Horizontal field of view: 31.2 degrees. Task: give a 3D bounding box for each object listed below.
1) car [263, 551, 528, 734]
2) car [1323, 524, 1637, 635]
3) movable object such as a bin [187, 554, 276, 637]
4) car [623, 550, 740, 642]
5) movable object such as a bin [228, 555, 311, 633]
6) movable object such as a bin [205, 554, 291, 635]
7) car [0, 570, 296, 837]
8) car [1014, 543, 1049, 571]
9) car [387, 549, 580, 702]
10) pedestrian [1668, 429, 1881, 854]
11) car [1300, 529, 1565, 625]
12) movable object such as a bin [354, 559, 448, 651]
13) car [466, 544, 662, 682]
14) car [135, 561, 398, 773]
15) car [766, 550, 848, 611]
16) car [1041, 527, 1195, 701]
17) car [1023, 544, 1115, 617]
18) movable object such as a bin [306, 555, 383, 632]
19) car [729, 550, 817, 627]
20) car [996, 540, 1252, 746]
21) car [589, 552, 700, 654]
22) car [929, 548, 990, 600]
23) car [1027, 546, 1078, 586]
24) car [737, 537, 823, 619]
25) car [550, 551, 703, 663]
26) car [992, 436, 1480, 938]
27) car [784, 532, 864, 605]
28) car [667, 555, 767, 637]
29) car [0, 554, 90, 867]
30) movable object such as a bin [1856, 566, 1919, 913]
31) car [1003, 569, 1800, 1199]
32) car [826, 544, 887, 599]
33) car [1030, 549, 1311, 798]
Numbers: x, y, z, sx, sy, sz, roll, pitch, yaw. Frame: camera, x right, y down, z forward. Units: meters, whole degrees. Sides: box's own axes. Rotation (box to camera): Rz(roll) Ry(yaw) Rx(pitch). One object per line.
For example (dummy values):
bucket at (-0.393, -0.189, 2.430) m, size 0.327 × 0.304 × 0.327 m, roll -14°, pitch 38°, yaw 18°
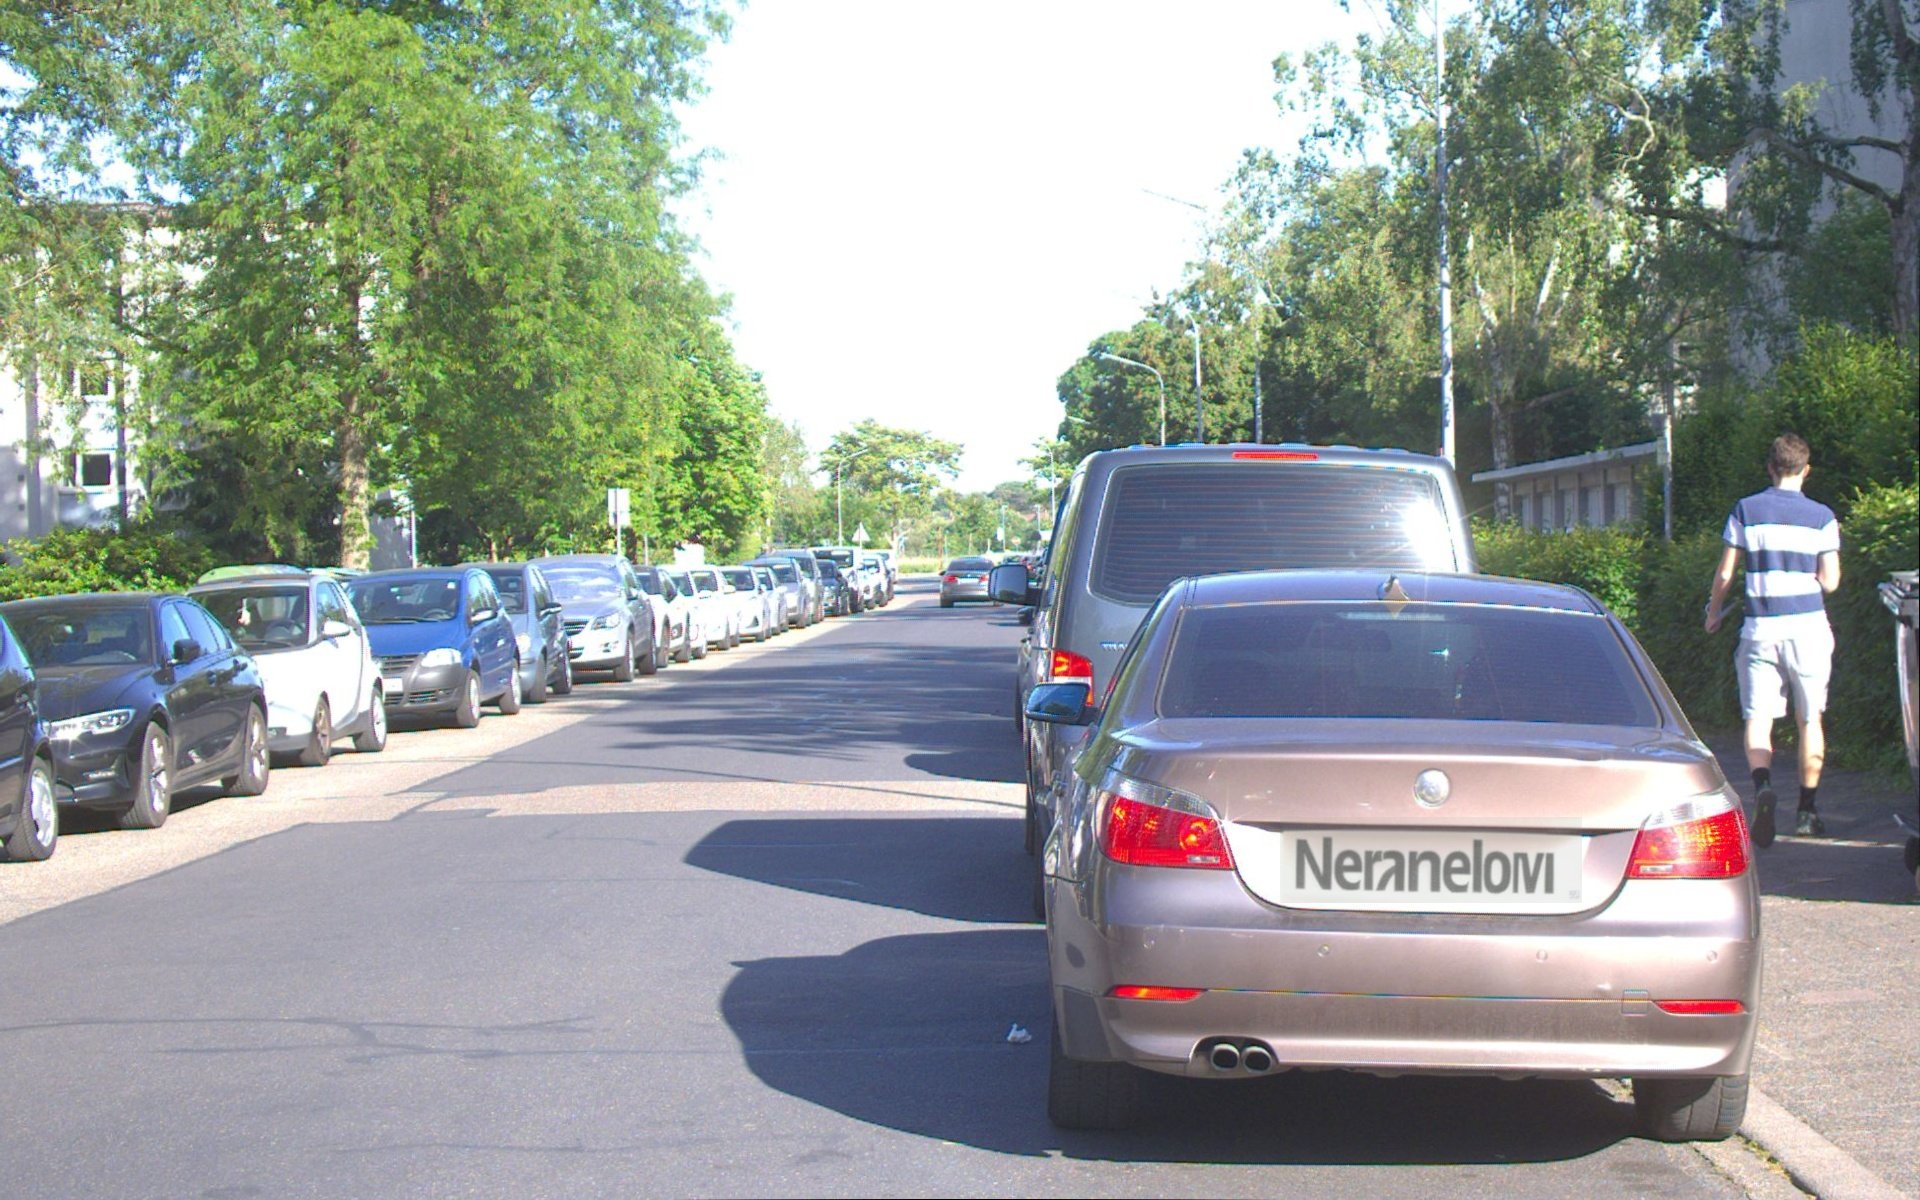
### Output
car at (-5.505, 0.369, 33.976) m, size 1.754 × 1.600 × 3.968 m, roll -3°, pitch 1°, yaw 2°
car at (7.891, -0.323, 52.454) m, size 4.514 × 1.508 × 1.829 m, roll -2°, pitch 1°, yaw 3°
movable object such as a bin at (-12.896, -0.083, 60.927) m, size 1.177 × 1.416 × 1.462 m, roll 1°, pitch 1°, yaw 3°
car at (-4.935, -0.100, 61.417) m, size 1.686 × 1.529 × 3.891 m, roll -2°, pitch 1°, yaw 0°
movable object such as a bin at (-12.905, -0.120, 64.302) m, size 1.177 × 1.416 × 1.462 m, roll 1°, pitch 1°, yaw 3°
movable object such as a bin at (-12.999, -0.106, 62.785) m, size 1.177 × 1.416 × 1.462 m, roll 1°, pitch 1°, yaw 3°
car at (-5.641, 0.606, 22.170) m, size 1.754 × 1.476 × 4.538 m, roll -3°, pitch 1°, yaw 0°
car at (3.955, -2.397, 191.506) m, size 1.795 × 1.543 × 3.952 m, roll 0°, pitch 1°, yaw -1°
car at (-5.373, 0.250, 39.104) m, size 1.635 × 1.600 × 3.535 m, roll -2°, pitch 1°, yaw 0°
pedestrian at (3.768, 0.183, 15.958) m, size 0.703 × 1.882 × 0.872 m, roll -3°, pitch 1°, yaw 2°
car at (8.304, -0.413, 60.693) m, size 4.415 × 1.508 × 1.829 m, roll -2°, pitch 1°, yaw 2°
movable object such as a bin at (-8.661, 0.071, 53.330) m, size 1.136 × 1.378 × 1.442 m, roll 1°, pitch 1°, yaw 3°
car at (-5.074, 0.123, 44.601) m, size 1.903 × 1.634 × 4.349 m, roll -2°, pitch 1°, yaw 1°
car at (-5.683, 0.505, 28.473) m, size 1.444 × 1.569 × 3.142 m, roll -3°, pitch 1°, yaw 0°
car at (-4.105, -0.538, 92.964) m, size 1.746 × 1.528 × 4.138 m, roll -2°, pitch 1°, yaw 3°
car at (1.593, 0.119, 35.316) m, size 1.489 × 1.712 × 2.583 m, roll 0°, pitch 1°, yaw 1°
car at (2.312, -0.448, 73.879) m, size 1.753 × 1.508 × 4.104 m, roll 1°, pitch 1°, yaw -1°
movable object such as a bin at (-11.601, -0.133, 64.846) m, size 1.134 × 1.416 × 1.361 m, roll 1°, pitch 1°, yaw 3°
car at (-4.203, -0.282, 77.709) m, size 1.709 × 1.595 × 3.986 m, roll -3°, pitch 1°, yaw 0°
car at (1.260, 0.290, 28.134) m, size 1.731 × 1.484 × 4.501 m, roll -2°, pitch 1°, yaw -1°
car at (-5.034, 0.025, 54.908) m, size 1.662 × 1.508 × 3.538 m, roll -2°, pitch 1°, yaw -5°
car at (-0.031, -0.780, 102.011) m, size 1.679 × 1.508 × 4.104 m, roll 1°, pitch 1°, yaw -1°
car at (3.648, -1.372, 136.135) m, size 1.795 × 1.556 × 3.952 m, roll 0°, pitch 1°, yaw -1°
car at (-4.377, -0.551, 84.133) m, size 1.854 × 1.886 × 4.418 m, roll -2°, pitch 1°, yaw 0°
car at (-4.850, 0.074, 50.423) m, size 1.662 × 1.508 × 3.945 m, roll -2°, pitch 1°, yaw 2°
car at (1.087, 0.300, 15.628) m, size 1.852 × 1.927 × 4.705 m, roll 0°, pitch 1°, yaw 0°
car at (-3.908, -0.926, 99.294) m, size 1.915 × 1.956 × 5.087 m, roll -2°, pitch 1°, yaw 1°
car at (-4.720, -0.106, 67.167) m, size 1.686 × 1.500 × 3.818 m, roll -2°, pitch 1°, yaw -1°
car at (-5.735, 0.606, 17.209) m, size 1.754 × 1.569 × 3.720 m, roll -3°, pitch 1°, yaw 0°
movable object such as a bin at (4.230, 0.505, 13.869) m, size 1.027 × 1.305 × 1.386 m, roll -4°, pitch 1°, yaw 11°
car at (1.107, 0.634, 10.136) m, size 1.801 × 1.414 × 4.635 m, roll 0°, pitch 1°, yaw 3°
car at (-3.386, -0.958, 113.097) m, size 1.746 × 1.726 × 4.005 m, roll -2°, pitch 1°, yaw 1°
car at (1.310, 0.413, 22.710) m, size 1.623 × 1.485 × 4.036 m, roll 0°, pitch 1°, yaw 0°
